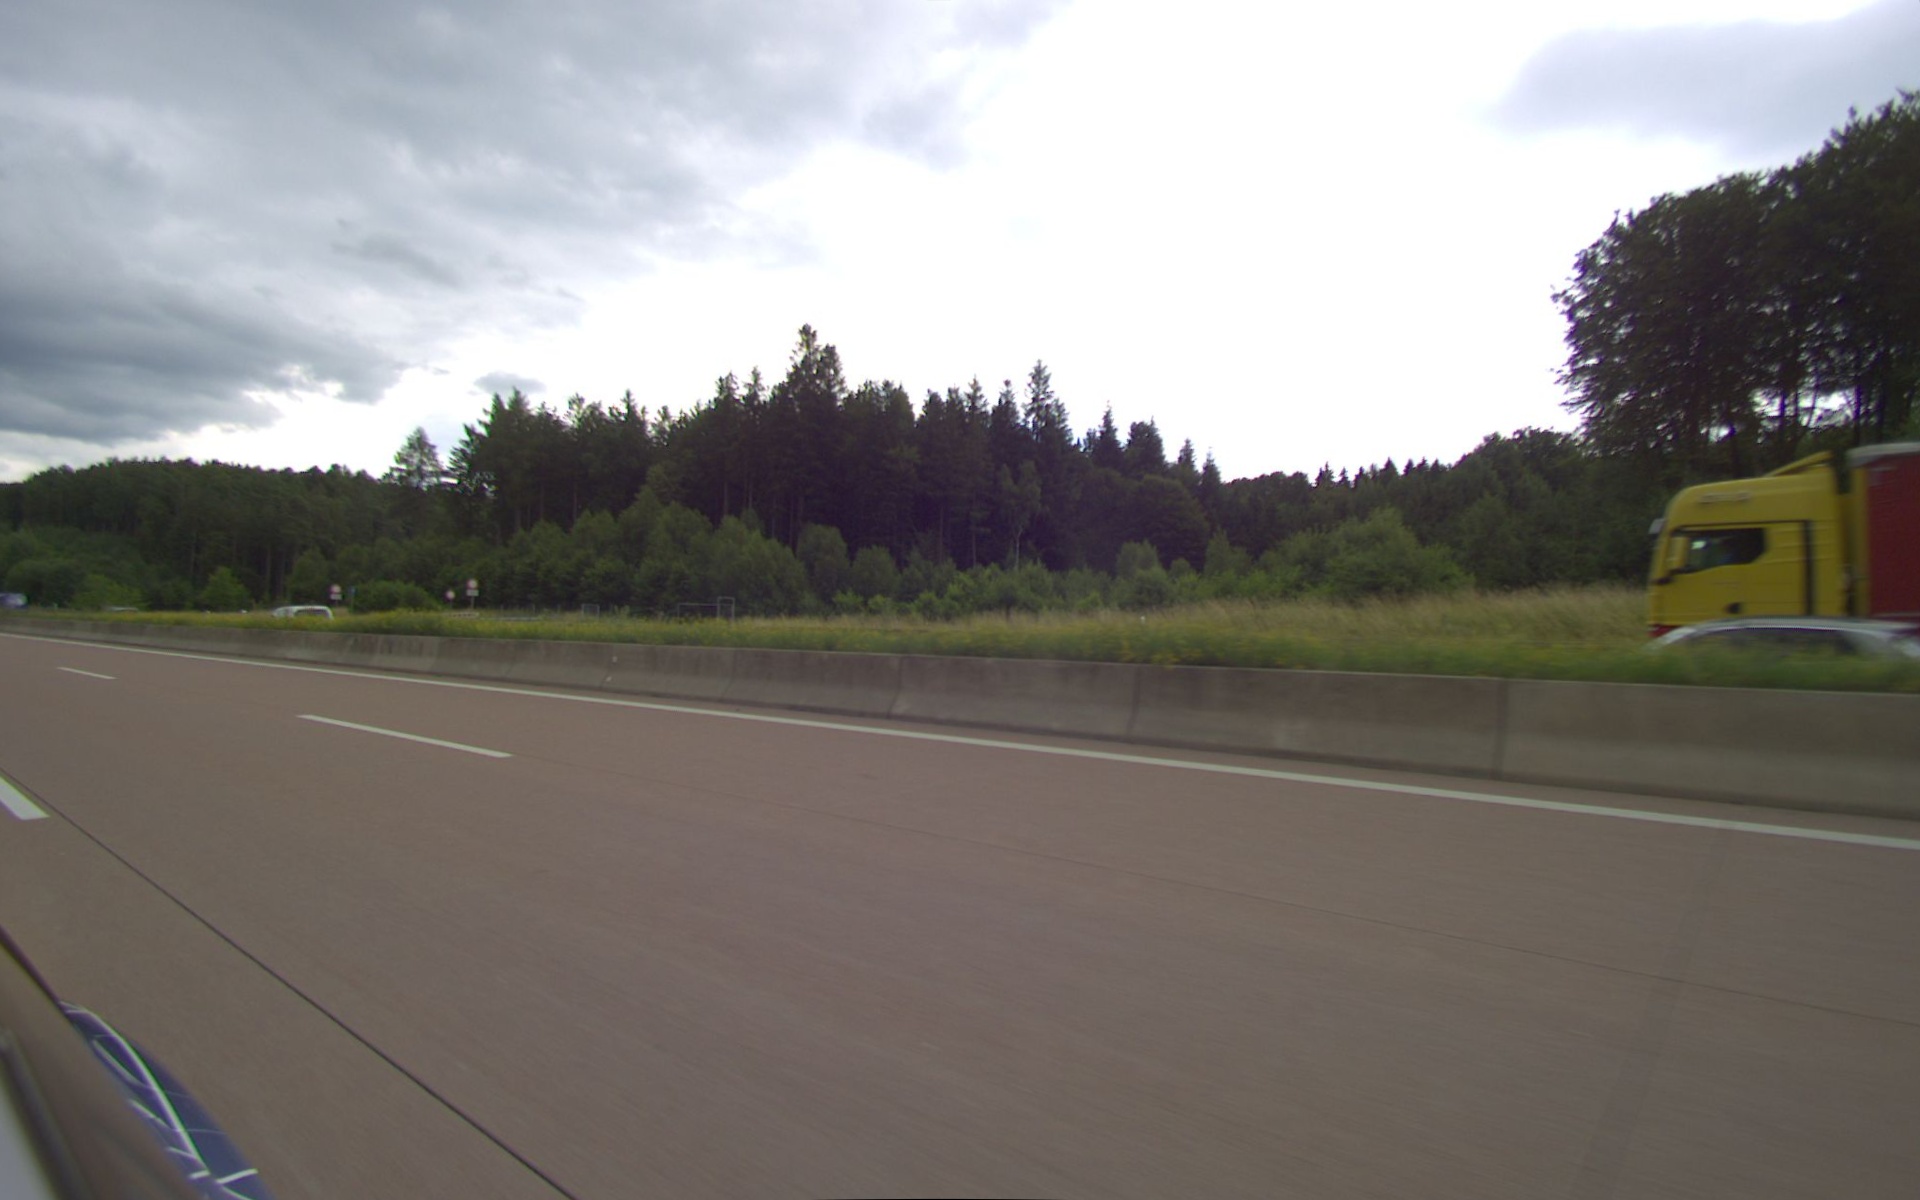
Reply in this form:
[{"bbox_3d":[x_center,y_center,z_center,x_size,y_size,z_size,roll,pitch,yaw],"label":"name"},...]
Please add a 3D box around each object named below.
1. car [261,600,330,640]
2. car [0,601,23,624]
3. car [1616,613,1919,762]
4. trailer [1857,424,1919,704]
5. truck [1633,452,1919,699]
[{"bbox_3d":[-28.339,0.822,43.124,3.409,1.579,1.552,1,1,40],"label":"car"},{"bbox_3d":[-96.093,1.295,101.630,6.033,2.259,1.974,-1,0,38],"label":"car"},{"bbox_3d":[9.373,0.849,10.585,4.028,1.413,1.722,-1,-1,41],"label":"car"},{"bbox_3d":[19.901,-0.718,11.418,14.527,4.072,3.001,-2,-1,42],"label":"trailer"},{"bbox_3d":[14.650,-0.363,16.217,6.056,3.609,2.980,-1,0,42],"label":"truck"}]
